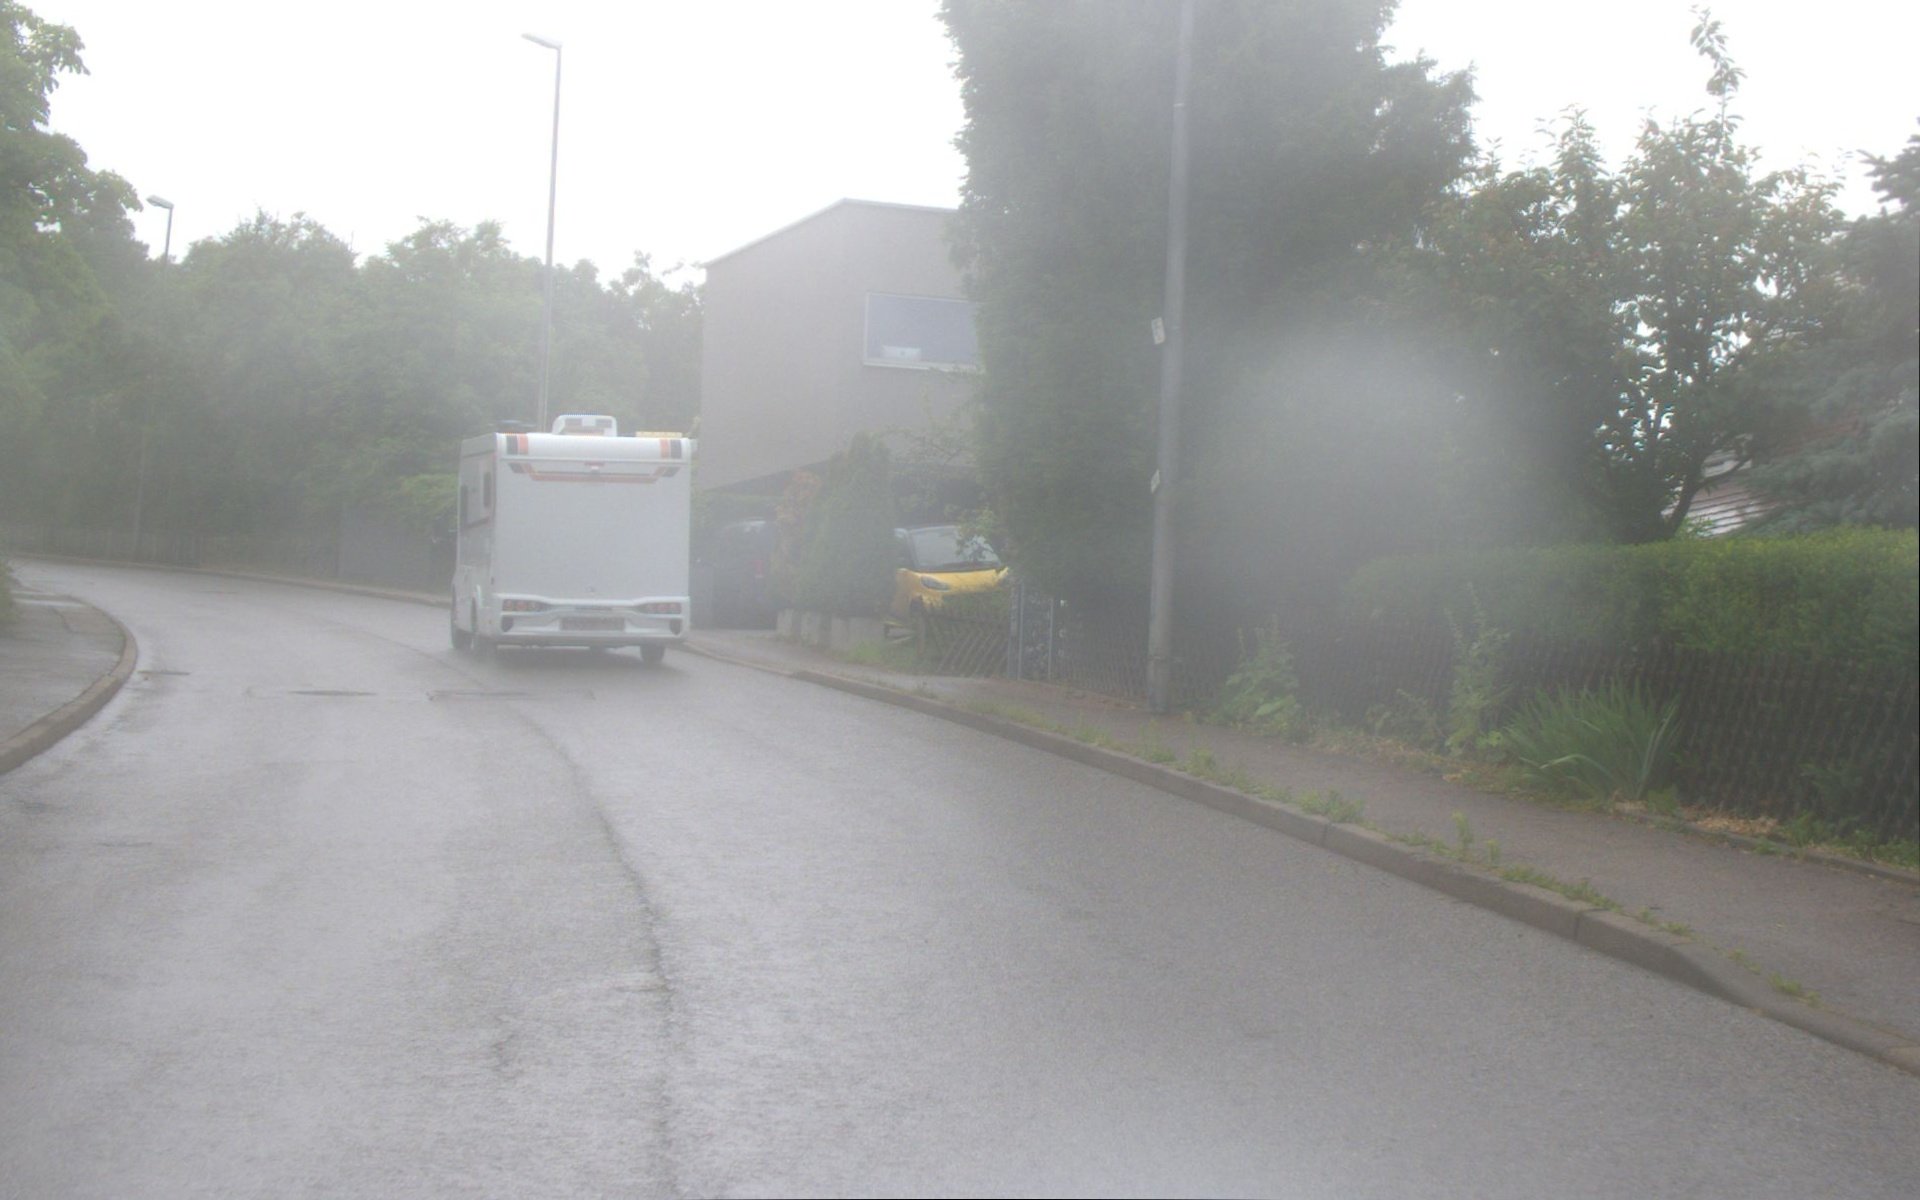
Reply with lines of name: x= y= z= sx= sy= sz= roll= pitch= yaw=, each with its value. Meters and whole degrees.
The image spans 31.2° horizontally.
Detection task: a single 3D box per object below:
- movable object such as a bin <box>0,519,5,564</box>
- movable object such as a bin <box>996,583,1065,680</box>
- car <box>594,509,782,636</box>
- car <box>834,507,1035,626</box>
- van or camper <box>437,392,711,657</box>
movable object such as a bin: x=-19.602 y=-1.191 z=69.211 sx=0.648 sy=0.908 sz=0.673 roll=2 pitch=1 yaw=-20
movable object such as a bin: x=0.744 y=0.332 z=36.203 sx=0.504 sy=0.966 sz=0.595 roll=5 pitch=0 yaw=-14
car: x=-4.658 y=-0.420 z=58.195 sx=1.993 sy=1.934 sz=4.774 roll=1 pitch=-2 yaw=-19
car: x=-0.389 y=-0.480 z=47.746 sx=1.627 sy=1.488 sz=3.428 roll=-4 pitch=2 yaw=-20
van or camper: x=-4.741 y=-0.860 z=41.333 sx=2.539 sy=2.915 sz=5.950 roll=1 pitch=0 yaw=-13
